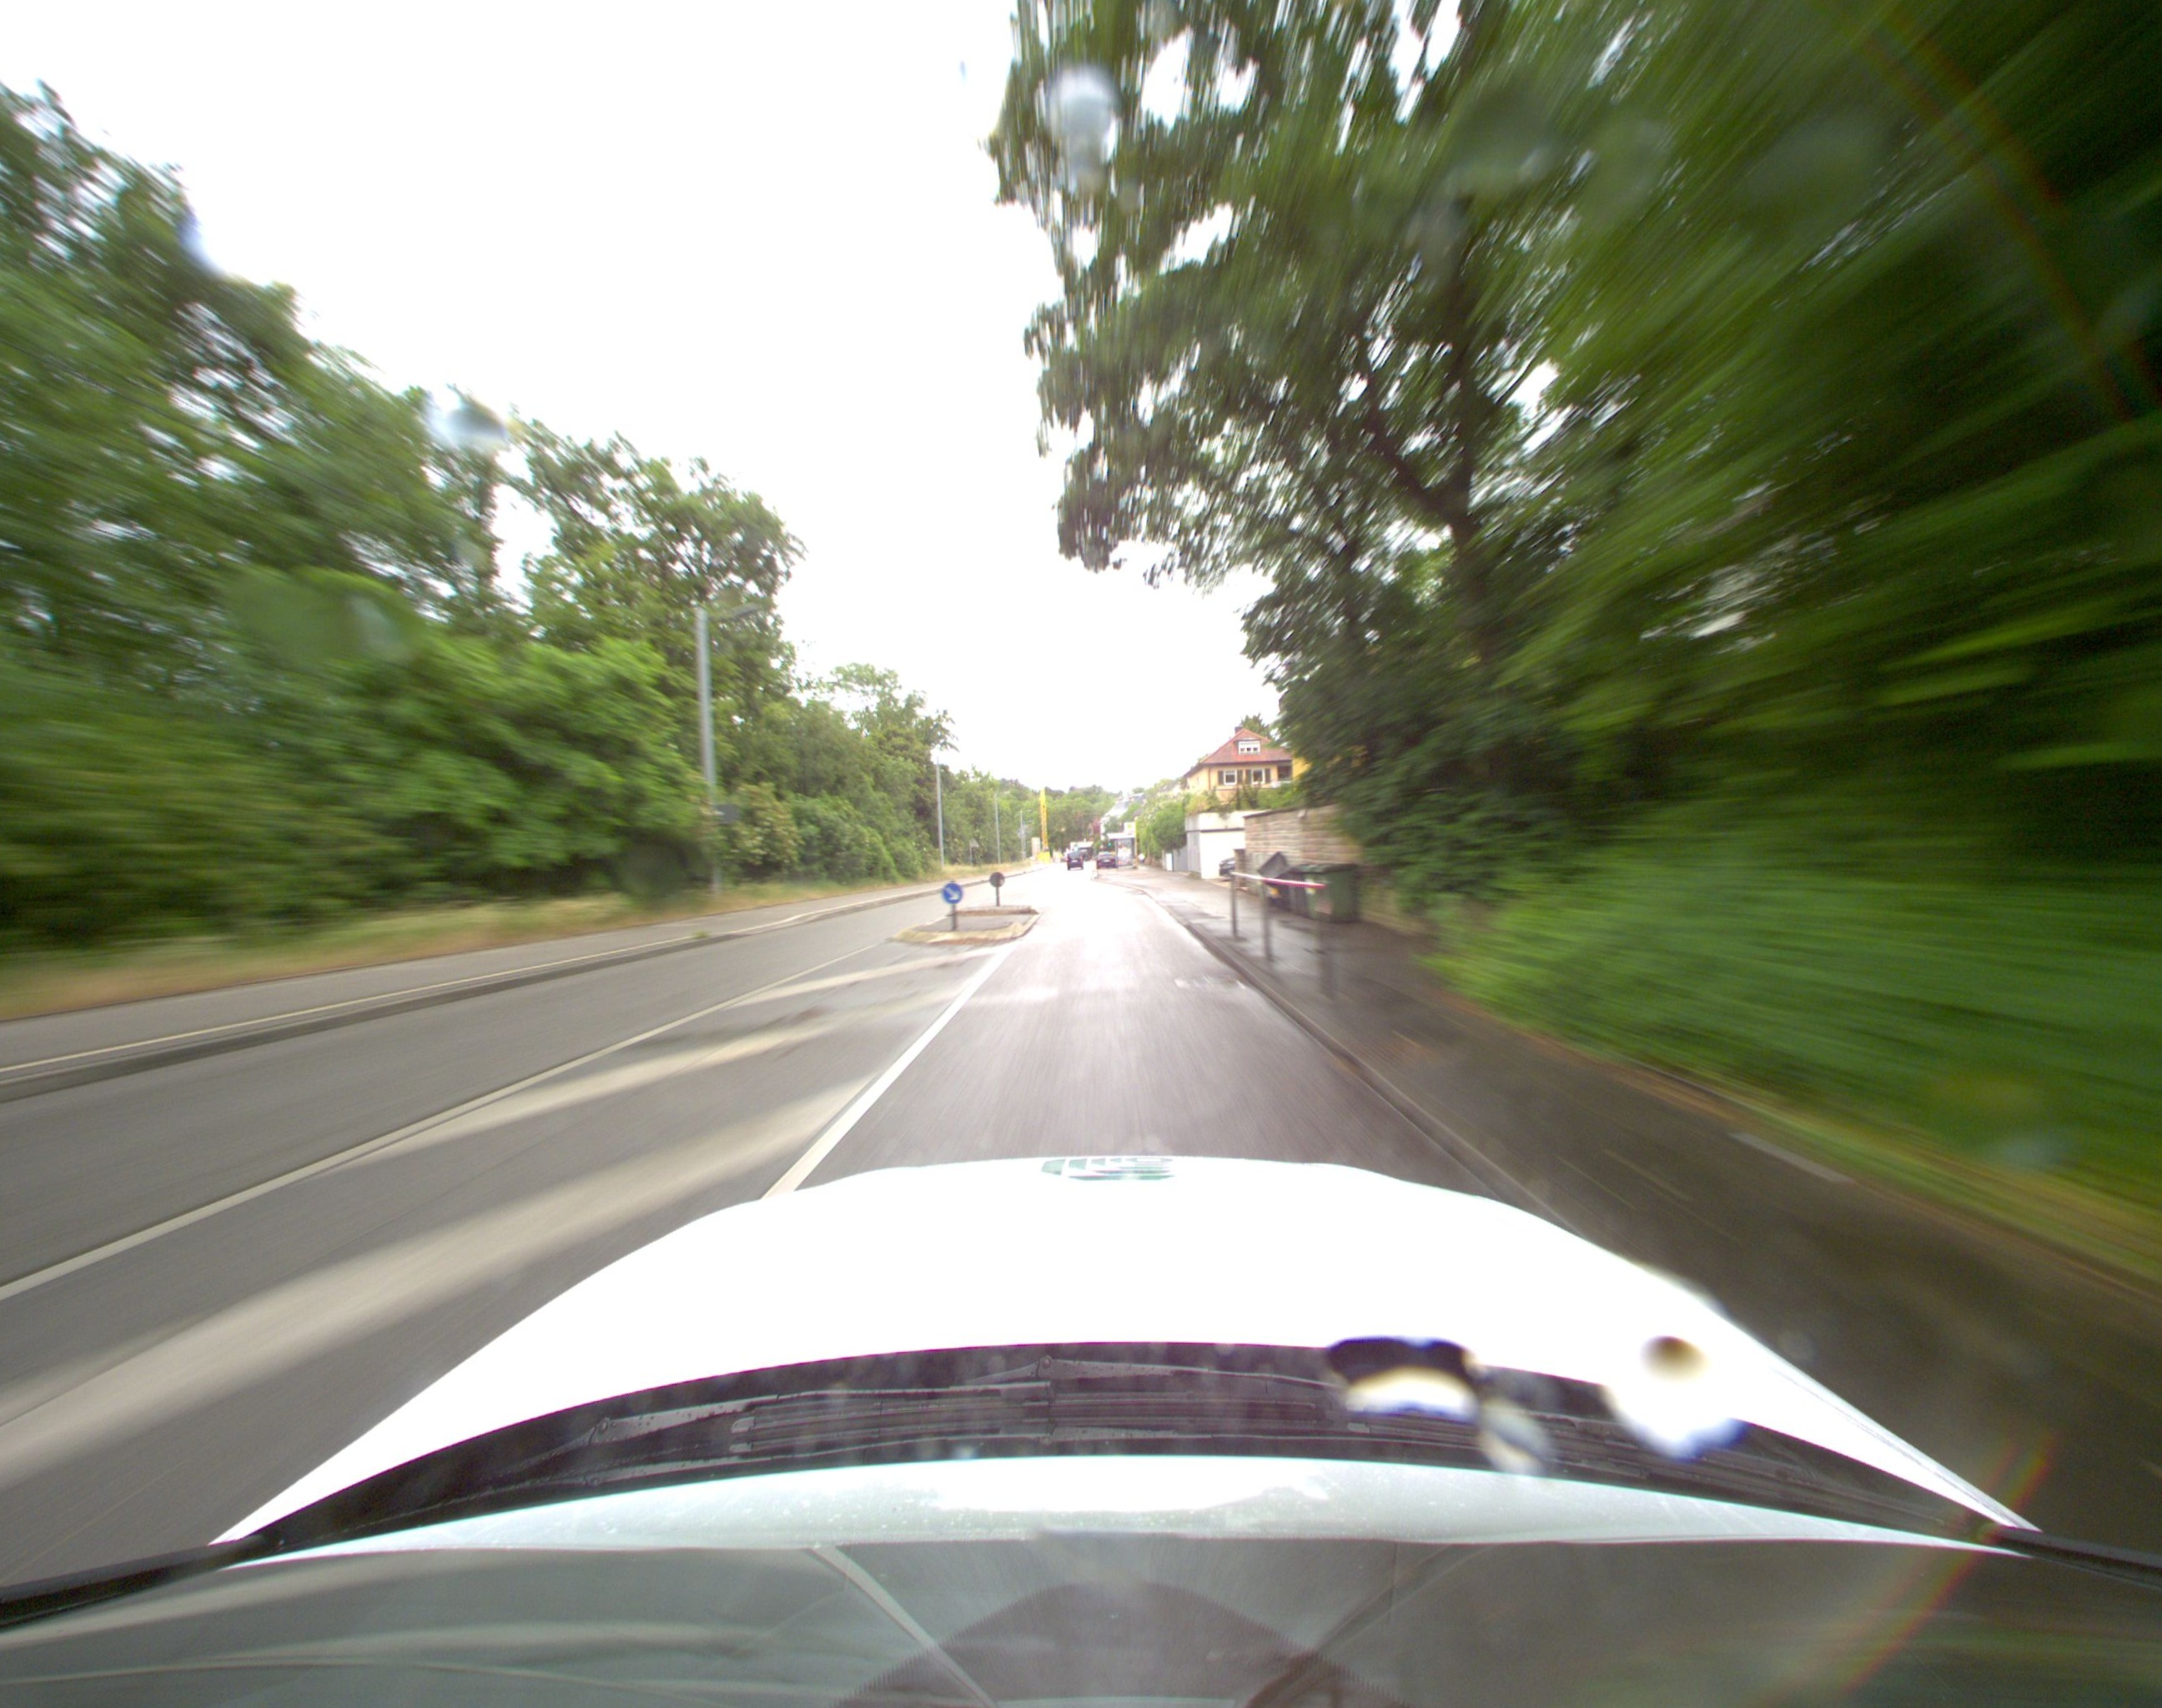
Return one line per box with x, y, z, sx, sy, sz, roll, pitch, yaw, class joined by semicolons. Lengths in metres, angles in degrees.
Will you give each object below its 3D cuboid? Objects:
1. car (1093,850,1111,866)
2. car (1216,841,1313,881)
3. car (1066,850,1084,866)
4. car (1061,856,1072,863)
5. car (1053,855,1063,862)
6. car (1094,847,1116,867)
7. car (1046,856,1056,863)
2.493;0.418;94.659;1.986;1.772;4.116;-1;0;2;car
7.727;0.273;34.485;3.757;1.552;1.609;-1;0;0;car
-0.617;0.412;84.117;1.661;1.594;3.684;-1;0;2;car
-3.301;1.154;181.471;1.741;1.552;3.839;-1;0;-12;car
-5.280;0.967;187.324;1.741;1.552;3.839;0;-1;-12;car
2.242;0.303;76.087;1.986;1.772;4.116;-1;0;2;car
-7.139;1.355;193.083;1.741;1.552;3.839;-1;0;-12;car
